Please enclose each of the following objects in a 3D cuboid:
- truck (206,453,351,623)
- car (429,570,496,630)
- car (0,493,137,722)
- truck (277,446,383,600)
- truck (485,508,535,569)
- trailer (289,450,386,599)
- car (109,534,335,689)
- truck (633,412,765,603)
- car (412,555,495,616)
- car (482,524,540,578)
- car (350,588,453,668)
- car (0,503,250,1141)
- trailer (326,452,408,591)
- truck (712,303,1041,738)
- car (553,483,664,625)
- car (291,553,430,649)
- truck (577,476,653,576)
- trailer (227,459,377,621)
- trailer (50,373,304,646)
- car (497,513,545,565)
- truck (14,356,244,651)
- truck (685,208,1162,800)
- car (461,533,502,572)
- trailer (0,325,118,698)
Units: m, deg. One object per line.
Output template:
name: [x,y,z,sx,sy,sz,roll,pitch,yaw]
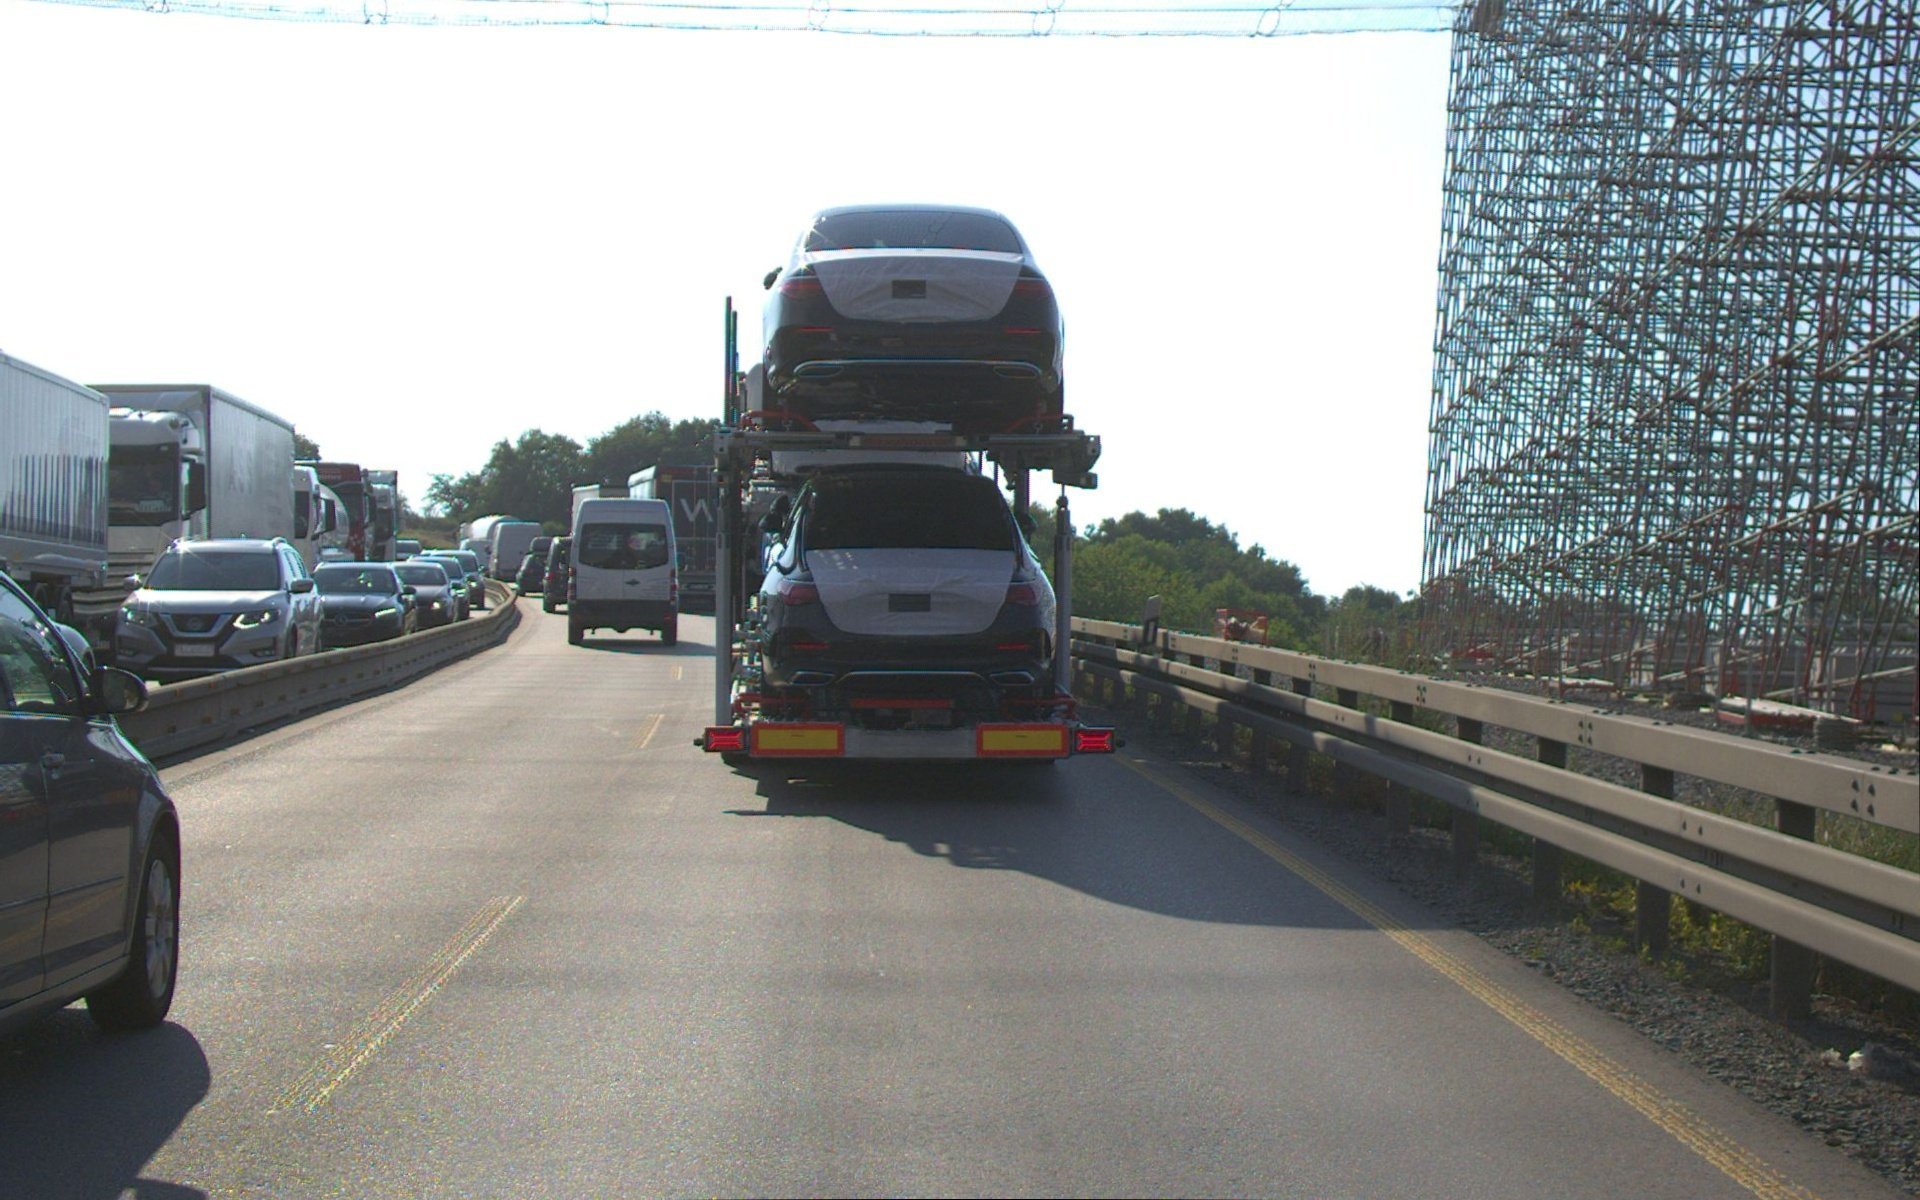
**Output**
truck: [-14.063,-1.259,71.267,2.413,3.358,5.618,1,0,-6]
car: [-13.495,-0.018,93.332,1.750,1.581,3.944,1,1,-8]
car: [-7.411,0.020,25.584,1.808,1.563,4.367,1,1,-4]
truck: [-16.119,-1.937,88.194,2.432,3.772,5.619,1,0,-8]
truck: [-24.184,-3.282,184.937,2.590,3.159,6.678,1,1,-7]
trailer: [-16.960,-2.004,94.141,2.306,3.777,12.056,1,1,-9]
car: [-7.962,0.097,37.444,1.808,1.563,4.367,1,1,-4]
truck: [-7.668,-2.596,99.775,3.285,5.219,9.938,1,0,-7]
car: [-11.982,-0.350,81.537,1.793,1.393,4.245,1,1,-6]
car: [-15.037,-1.644,115.282,1.826,1.766,4.001,1,1,-6]
car: [-10.173,0.483,62.830,1.607,1.371,3.901,1,1,-6]
car: [-3.217,0.536,9.286,1.691,1.590,4.000,1,1,1]
trailer: [-19.448,-2.528,112.824,2.475,4.314,10.514,1,1,-10]
truck: [-0.973,-0.744,35.209,2.837,3.779,9.988,1,1,-3]
car: [-6.513,-0.837,63.383,1.920,2.484,5.410,1,1,-7]
car: [-9.511,-0.005,54.806,1.777,1.445,4.664,1,1,-5]
truck: [-13.216,-2.777,131.270,2.530,3.635,8.907,1,1,-8]
trailer: [-14.729,-1.314,77.658,2.306,3.350,12.055,1,1,-6]
trailer: [-12.770,-1.395,57.237,2.427,3.949,14.102,1,1,-6]
car: [-17.243,-2.387,134.854,1.629,2.007,4.001,1,1,-10]
truck: [-12.028,-1.353,50.162,2.473,4.032,5.618,1,0,-6]
truck: [-0.472,-0.620,25.765,2.799,3.485,10.606,1,1,-3]
car: [-22.781,-2.247,163.753,1.837,1.829,4.001,1,1,-7]
trailer: [-11.712,-0.972,37.691,2.669,4.002,13.336,1,1,-5]
